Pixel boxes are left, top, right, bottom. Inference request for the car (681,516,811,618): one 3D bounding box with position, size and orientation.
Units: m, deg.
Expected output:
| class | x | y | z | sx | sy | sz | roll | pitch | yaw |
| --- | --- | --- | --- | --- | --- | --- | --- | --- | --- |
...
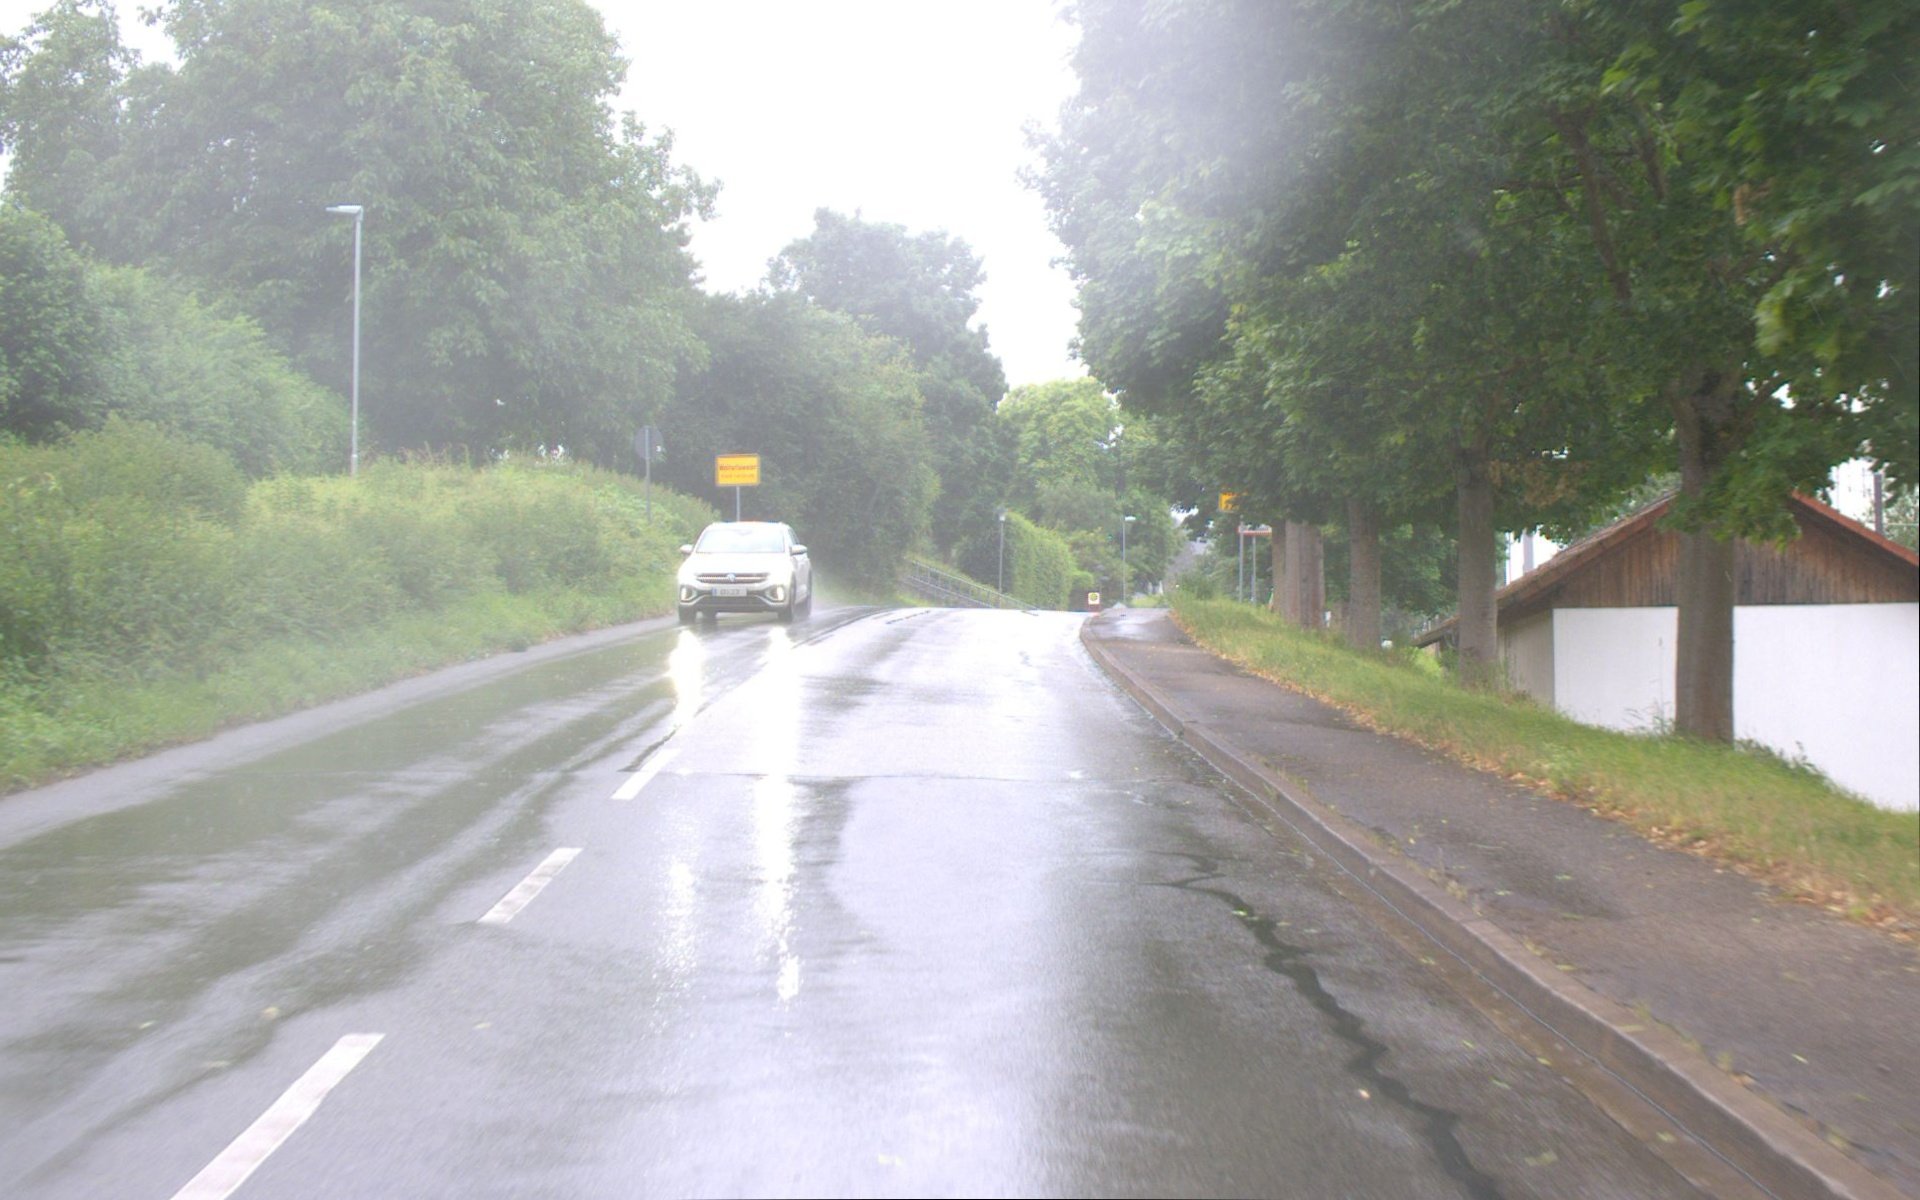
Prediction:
| class | x | y | z | sx | sy | sz | roll | pitch | yaw |
| --- | --- | --- | --- | --- | --- | --- | --- | --- | --- |
| car | -3.365 | -0.551 | 54.587 | 1.781 | 1.499 | 4.000 | 0 | 2 | 1 |
